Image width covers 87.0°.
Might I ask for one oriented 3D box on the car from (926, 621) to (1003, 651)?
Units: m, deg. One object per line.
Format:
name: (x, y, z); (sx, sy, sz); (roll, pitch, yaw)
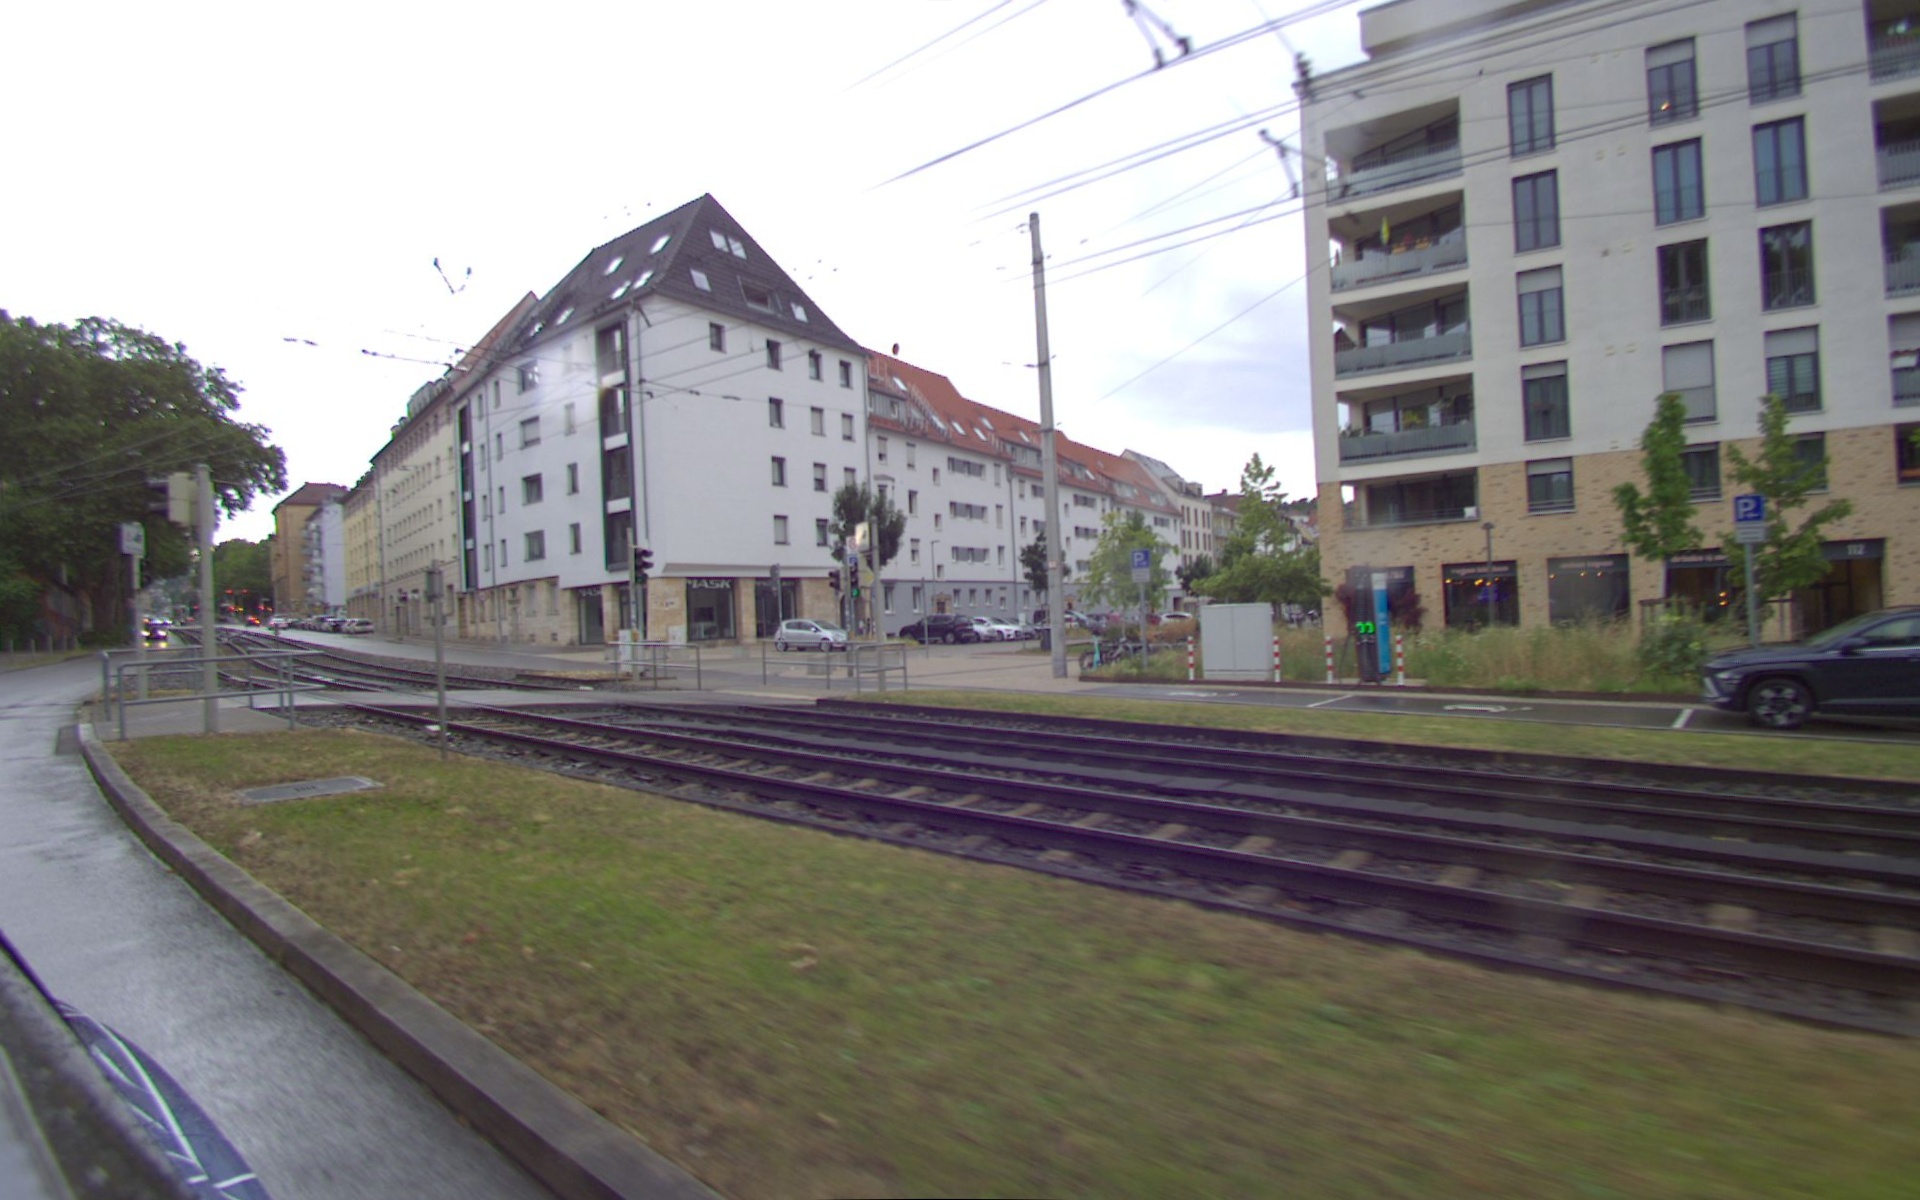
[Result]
car: (0.249, 2.038, 57.554); (3.987, 1.630, 1.919); (-1, -1, 32)

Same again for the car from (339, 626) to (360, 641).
car: (-60.472, 3.311, 100.262); (1.306, 1.495, 3.196); (0, -1, -41)

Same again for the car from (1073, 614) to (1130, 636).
car: (11.052, 1.931, 78.918); (3.987, 1.630, 1.919); (-1, -1, 32)

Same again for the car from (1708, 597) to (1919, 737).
car: (12.398, 0.826, 13.190); (4.207, 1.616, 1.976); (0, 3, 36)

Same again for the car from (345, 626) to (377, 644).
car: (-57.411, 3.327, 97.016); (2.000, 1.554, 4.006); (0, -1, -41)

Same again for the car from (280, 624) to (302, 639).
car: (-90.990, 4.249, 137.663); (2.000, 2.029, 4.234); (0, -1, -41)

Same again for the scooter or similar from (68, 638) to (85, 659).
scooter or similar: (-54.809, 2.999, 62.802); (0.393, 1.201, 1.367); (0, 2, -24)

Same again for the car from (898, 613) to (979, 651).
car: (-1.180, 1.744, 55.129); (3.987, 2.029, 1.919); (-1, -2, 32)

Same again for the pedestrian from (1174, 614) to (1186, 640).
pedestrian: (17.259, 2.145, 79.296); (0.719, 2.029, 0.731); (-1, -2, 28)

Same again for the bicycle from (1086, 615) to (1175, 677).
bicycle: (4.557, 1.208, 27.215); (2.360, 1.608, 0.668); (-1, -1, 42)

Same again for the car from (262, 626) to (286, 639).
car: (-87.344, 4.140, 128.844); (1.667, 1.548, 5.021); (0, -1, -44)

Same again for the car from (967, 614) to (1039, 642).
car: (2.632, 1.719, 62.019); (3.987, 1.630, 1.919); (-1, -1, 32)

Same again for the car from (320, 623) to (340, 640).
car: (-68.514, 3.369, 109.970); (1.356, 1.766, 3.411); (0, -1, -41)

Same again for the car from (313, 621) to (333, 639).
car: (-71.593, 3.379, 113.770); (1.533, 1.897, 4.049); (0, -1, -38)

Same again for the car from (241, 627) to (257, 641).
car: (-113.164, 5.405, 160.989); (1.919, 2.029, 4.008); (0, -1, -37)

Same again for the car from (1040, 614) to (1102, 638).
car: (7.897, 1.844, 71.951); (3.987, 1.630, 1.919); (-1, -1, 32)

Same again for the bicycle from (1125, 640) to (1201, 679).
bicycle: (5.767, 1.672, 28.857); (0.469, 1.055, 2.231); (1, -2, -44)

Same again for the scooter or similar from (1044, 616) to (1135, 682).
scooter or similar: (3.269, 1.222, 25.738); (2.360, 1.608, 0.593); (-1, -1, 42)

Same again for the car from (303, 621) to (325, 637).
car: (-75.564, 3.418, 118.395); (1.701, 1.822, 3.597); (0, -1, -41)

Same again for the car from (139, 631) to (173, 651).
car: (-66.648, 3.371, 83.935); (1.859, 1.502, 3.859); (0, -1, -34)

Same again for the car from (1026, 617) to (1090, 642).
car: (6.743, 2.035, 69.959); (3.988, 1.630, 1.919); (-1, -1, 33)

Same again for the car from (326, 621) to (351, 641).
car: (-64.875, 3.195, 105.610); (1.702, 1.975, 4.307); (0, -1, -39)

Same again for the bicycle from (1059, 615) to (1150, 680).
bicycle: (3.719, 1.202, 26.258); (2.360, 1.608, 0.668); (-1, -1, 42)

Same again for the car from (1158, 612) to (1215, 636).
car: (19.184, 2.054, 85.875); (4.323, 2.029, 1.823); (-2, -2, 40)

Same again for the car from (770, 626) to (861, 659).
car: (-6.502, 1.889, 45.547); (3.899, 1.431, 1.585); (-1, -1, 29)
